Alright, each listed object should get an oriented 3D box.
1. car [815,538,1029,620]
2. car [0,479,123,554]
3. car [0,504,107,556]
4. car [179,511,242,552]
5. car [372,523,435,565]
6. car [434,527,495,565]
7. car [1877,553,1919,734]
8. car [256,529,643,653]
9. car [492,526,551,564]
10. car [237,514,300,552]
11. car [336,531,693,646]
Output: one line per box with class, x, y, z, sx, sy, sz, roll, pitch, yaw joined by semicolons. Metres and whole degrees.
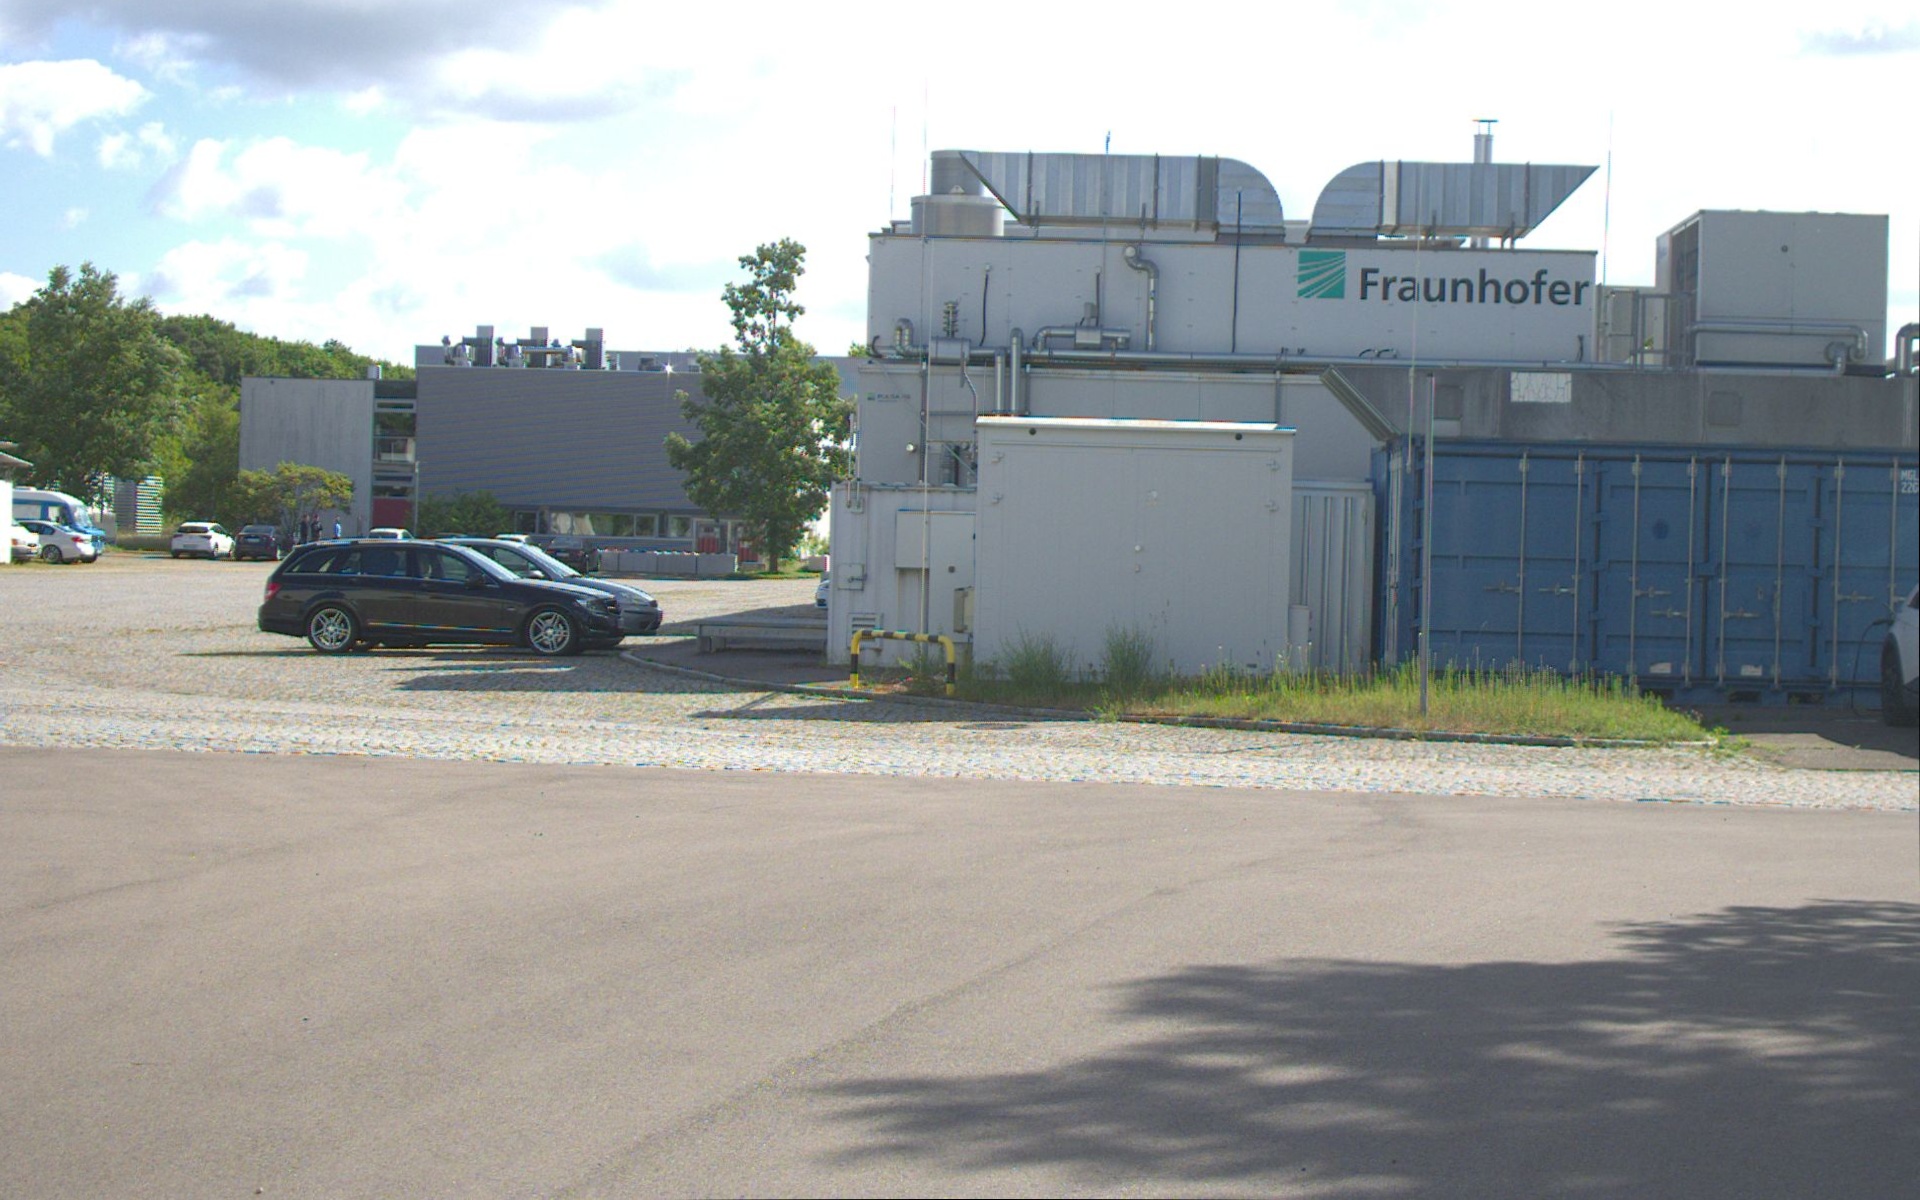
car;-0.766;-0.432;71.250;4.279;1.564;1.987;1;-1;3
car;-31.827;-2.890;118.600;5.260;2.433;2.049;2;1;7
car;-31.006;-2.377;115.614;4.111;1.625;1.807;2;1;7
car;-30.955;-2.812;142.107;1.846;1.663;4.134;0;0;-2
car;-22.936;-2.300;141.790;1.877;1.684;4.036;0;0;1
car;-20.380;-2.230;141.496;1.877;1.532;4.036;0;0;1
car;9.586;0.457;30.271;1.981;1.588;4.340;2;2;3
car;-6.450;-0.097;43.782;4.530;1.438;1.987;1;-1;3
car;-18.044;-2.240;141.587;1.877;1.532;4.036;0;0;1
car;-28.511;-2.753;141.852;1.877;1.532;4.036;0;0;-2
car;-6.051;-0.140;47.023;4.530;1.438;1.904;1;-1;3
